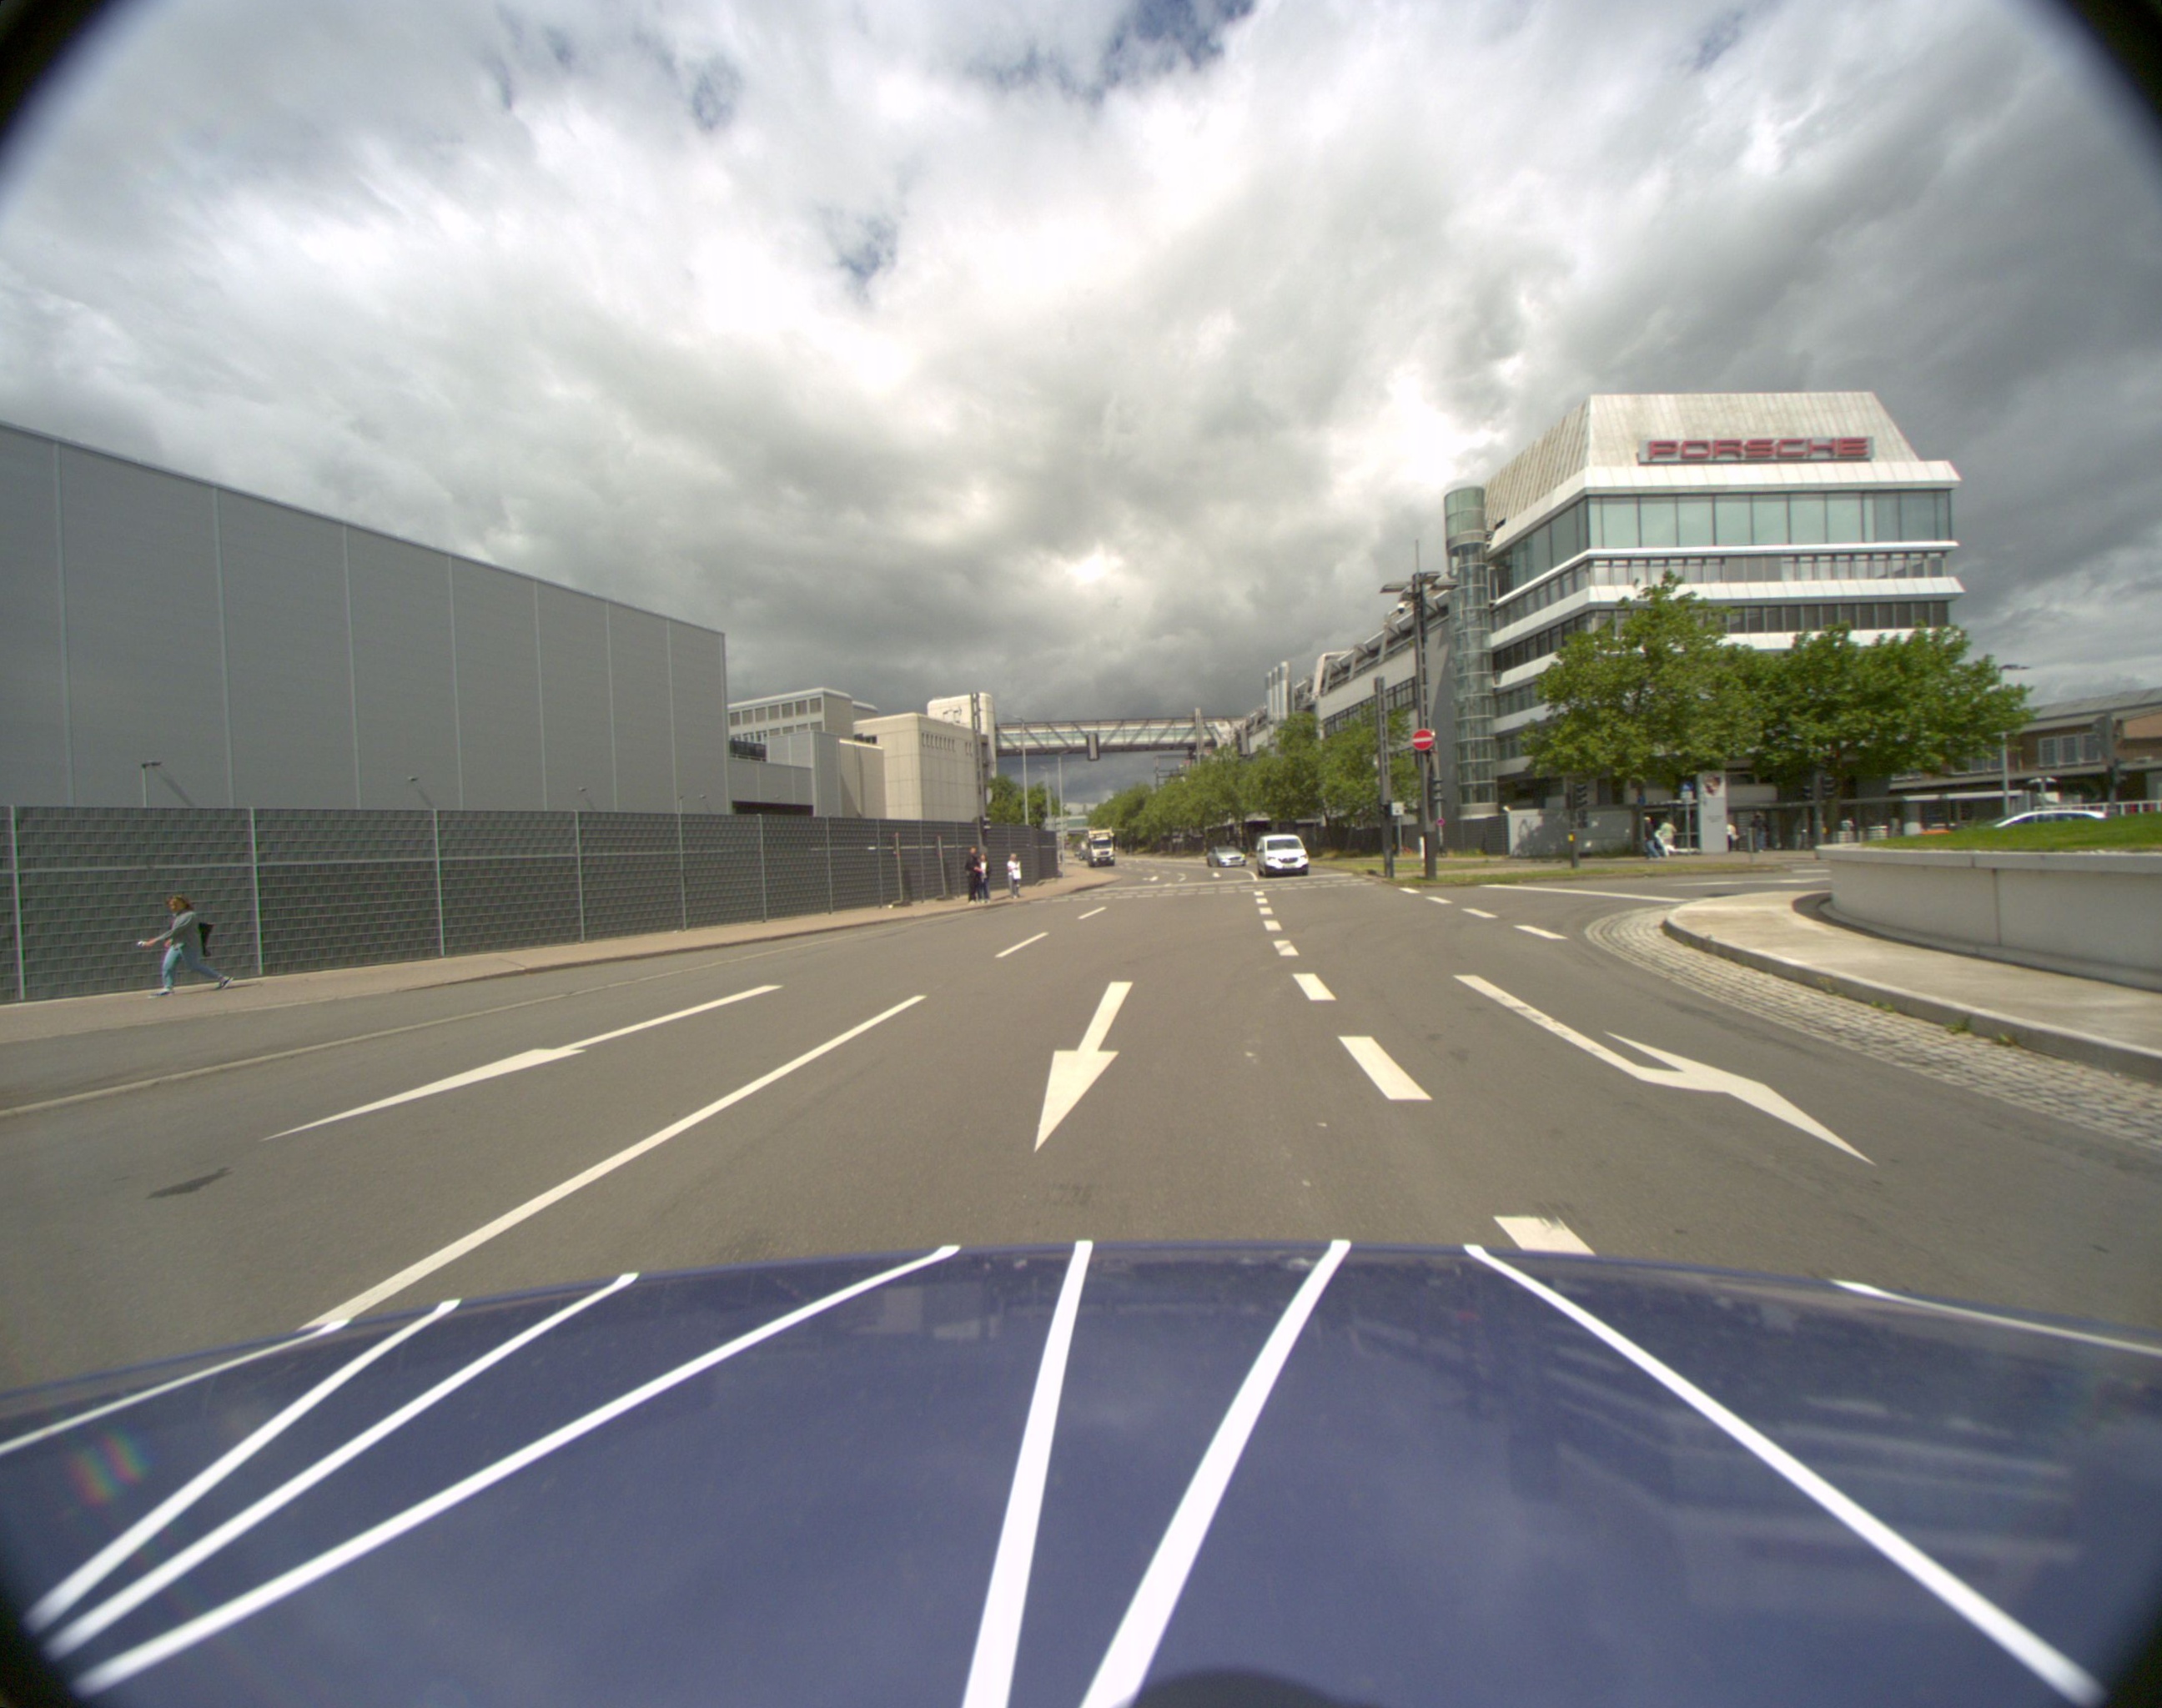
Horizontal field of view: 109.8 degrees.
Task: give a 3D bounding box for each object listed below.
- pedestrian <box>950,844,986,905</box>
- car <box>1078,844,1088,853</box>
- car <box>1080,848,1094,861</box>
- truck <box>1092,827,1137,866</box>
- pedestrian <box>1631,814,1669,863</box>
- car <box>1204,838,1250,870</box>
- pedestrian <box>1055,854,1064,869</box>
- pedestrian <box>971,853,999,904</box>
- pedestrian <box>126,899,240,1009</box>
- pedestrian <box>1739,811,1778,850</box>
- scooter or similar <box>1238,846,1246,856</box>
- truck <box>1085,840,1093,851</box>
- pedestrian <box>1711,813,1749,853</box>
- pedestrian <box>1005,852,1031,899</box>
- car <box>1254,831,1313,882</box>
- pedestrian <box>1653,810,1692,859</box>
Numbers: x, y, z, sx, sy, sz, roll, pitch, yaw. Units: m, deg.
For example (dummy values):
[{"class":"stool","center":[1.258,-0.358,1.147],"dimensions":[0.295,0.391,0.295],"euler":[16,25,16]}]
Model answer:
[{"class":"pedestrian","center":[-3.592,0.648,24.140],"dimensions":[0.795,1.856,0.660],"euler":[-5,2,-41]},{"class":"car","center":[0.419,-1.222,181.341],"dimensions":[1.872,1.945,4.708],"euler":[-5,2,-4]},{"class":"car","center":[0.970,-0.002,127.901],"dimensions":[1.872,1.945,4.708],"euler":[-5,2,-4]},{"class":"truck","center":[3.499,-0.808,82.775],"dimensions":[2.715,3.863,10.732],"euler":[-4,1,-9]},{"class":"pedestrian","center":[24.618,-0.668,32.876],"dimensions":[0.954,2.044,0.952],"euler":[-3,2,14]},{"class":"car","center":[9.964,-0.054,52.087],"dimensions":[1.872,1.944,4.709],"euler":[-4,2,-4]},{"class":"pedestrian","center":[-2.575,0.934,91.199],"dimensions":[0.797,1.711,0.731],"euler":[-4,2,-8]},{"class":"pedestrian","center":[-3.108,0.785,24.610],"dimensions":[0.664,1.606,0.464],"euler":[-5,2,-41]},{"class":"pedestrian","center":[-14.142,1.545,11.985],"dimensions":[0.694,1.577,0.922],"euler":[-3,2,28]},{"class":"pedestrian","center":[31.929,-1.078,35.824],"dimensions":[0.866,1.764,1.034],"euler":[-4,2,-18]},{"class":"scooter or similar","center":[19.605,-0.363,92.470],"dimensions":[0.524,1.227,1.317],"euler":[-6,0,-5]},{"class":"truck","center":[2.451,-2.569,235.696],"dimensions":[2.458,3.111,7.241],"euler":[-4,1,0]},{"class":"pedestrian","center":[30.619,-0.980,35.856],"dimensions":[0.866,1.764,1.034],"euler":[-4,2,-18]},{"class":"pedestrian","center":[-2.266,0.770,27.510],"dimensions":[0.661,1.599,0.823],"euler":[-4,2,7]},{"class":"car","center":[8.942,0.056,33.874],"dimensions":[1.824,2.002,4.393],"euler":[-4,0,7]},{"class":"pedestrian","center":[25.919,-0.847,33.305],"dimensions":[0.954,2.044,0.952],"euler":[-3,2,14]}]
